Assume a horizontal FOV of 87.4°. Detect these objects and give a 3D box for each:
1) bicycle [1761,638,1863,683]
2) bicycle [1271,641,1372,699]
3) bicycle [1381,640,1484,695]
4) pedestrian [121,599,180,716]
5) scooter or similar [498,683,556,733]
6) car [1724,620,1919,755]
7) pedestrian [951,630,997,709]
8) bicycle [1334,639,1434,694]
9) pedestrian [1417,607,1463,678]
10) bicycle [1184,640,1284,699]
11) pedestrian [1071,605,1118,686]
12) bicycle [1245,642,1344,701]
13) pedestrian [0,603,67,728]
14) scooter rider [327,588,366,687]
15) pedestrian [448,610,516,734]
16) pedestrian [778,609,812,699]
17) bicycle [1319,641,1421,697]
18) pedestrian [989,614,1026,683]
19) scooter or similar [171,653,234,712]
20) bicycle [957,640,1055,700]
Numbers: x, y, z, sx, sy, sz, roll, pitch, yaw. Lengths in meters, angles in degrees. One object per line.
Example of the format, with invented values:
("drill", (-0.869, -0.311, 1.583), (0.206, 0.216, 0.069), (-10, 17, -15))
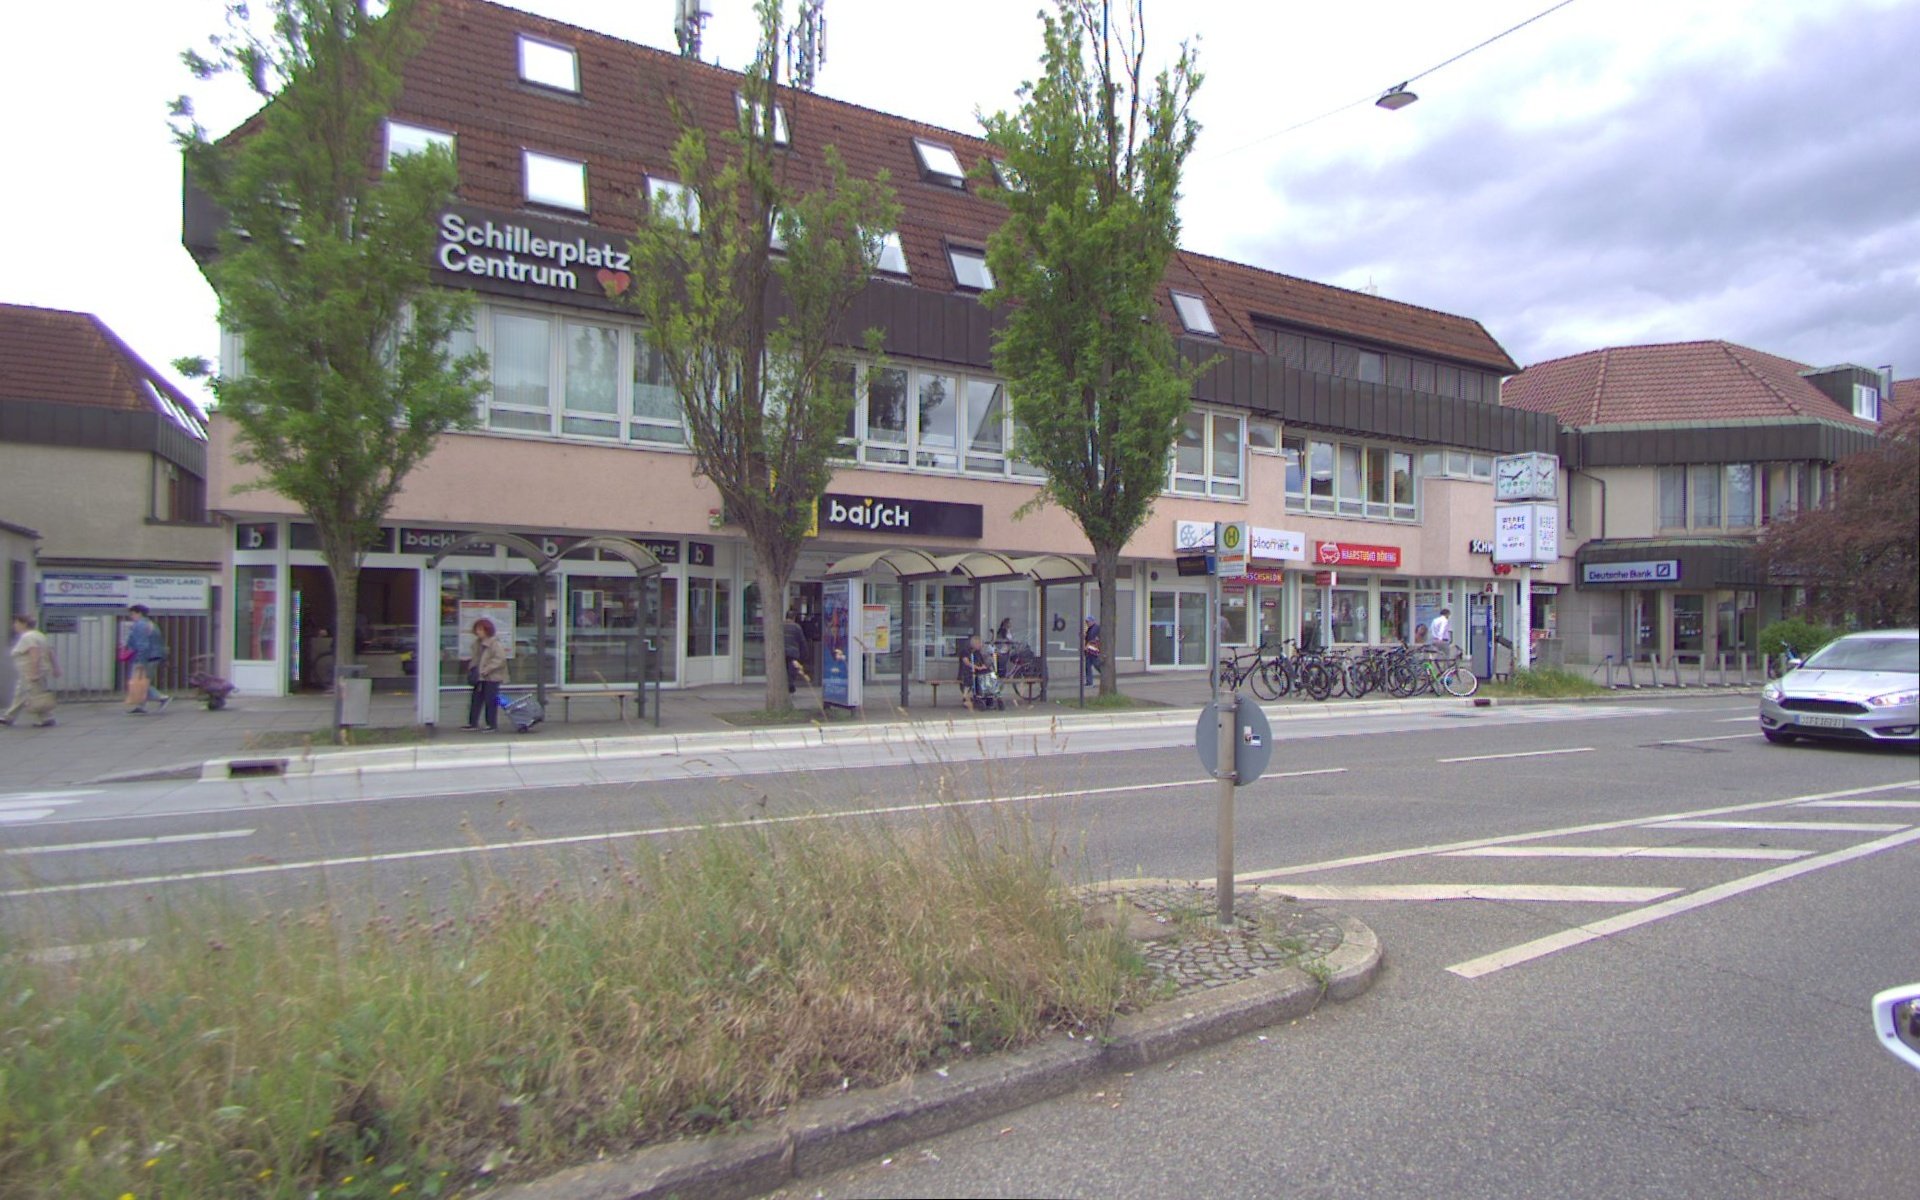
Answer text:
("bicycle", (22.853, 1.601, 26.978), (0.643, 1.105, 2.003), (1, -1, -37))
("bicycle", (7.674, 1.460, 21.429), (0.643, 1.105, 2.003), (1, 0, -37))
("bicycle", (10.393, 1.472, 22.161), (0.643, 1.105, 2.003), (1, -1, -37))
("pedestrian", (-12.341, 0.863, 15.327), (0.607, 1.735, 0.583), (0, -1, -30))
("scooter or similar", (-5.981, 1.484, 13.860), (0.694, 0.609, 0.589), (1, -1, -28))
("car", (12.240, 1.074, 13.201), (4.289, 1.525, 1.867), (2, -3, -28))
("pedestrian", (0.253, 1.239, 18.182), (0.580, 1.382, 0.709), (0, 0, -26))
("bicycle", (9.368, 1.446, 22.241), (0.643, 1.105, 2.003), (1, -1, -37))
("pedestrian", (12.500, 1.081, 26.181), (0.746, 1.788, 0.722), (0, 2, -30))
("bicycle", (5.701, 1.423, 20.991), (0.644, 1.105, 2.000), (1, 0, -41))
("pedestrian", (3.092, 1.036, 23.072), (0.746, 1.788, 0.722), (0, 2, -30))
("bicycle", (6.867, 1.439, 20.719), (0.642, 1.105, 2.007), (1, -1, -32))
("pedestrian", (-12.748, 0.880, 13.789), (0.607, 1.656, 0.583), (0, 2, -30))
("scooter rider", (-11.088, 0.671, 18.172), (0.581, 1.735, 0.610), (0, 2, -31))
("pedestrian", (-6.670, 0.975, 14.024), (0.580, 1.674, 0.709), (1, 1, 44))
("pedestrian", (-3.130, 1.012, 19.110), (0.577, 1.674, 0.713), (0, 0, -4))
("bicycle", (8.846, 1.466, 21.754), (0.643, 1.105, 2.003), (1, -1, -37))
("pedestrian", (1.121, 1.133, 23.759), (0.581, 1.568, 0.708), (0, 0, -28))
("scooter or similar", (-11.825, 1.275, 15.693), (0.694, 0.860, 0.589), (1, -1, -28))
("bicycle", (0.897, 1.330, 19.462), (1.908, 1.105, 0.531), (1, 0, -30))
